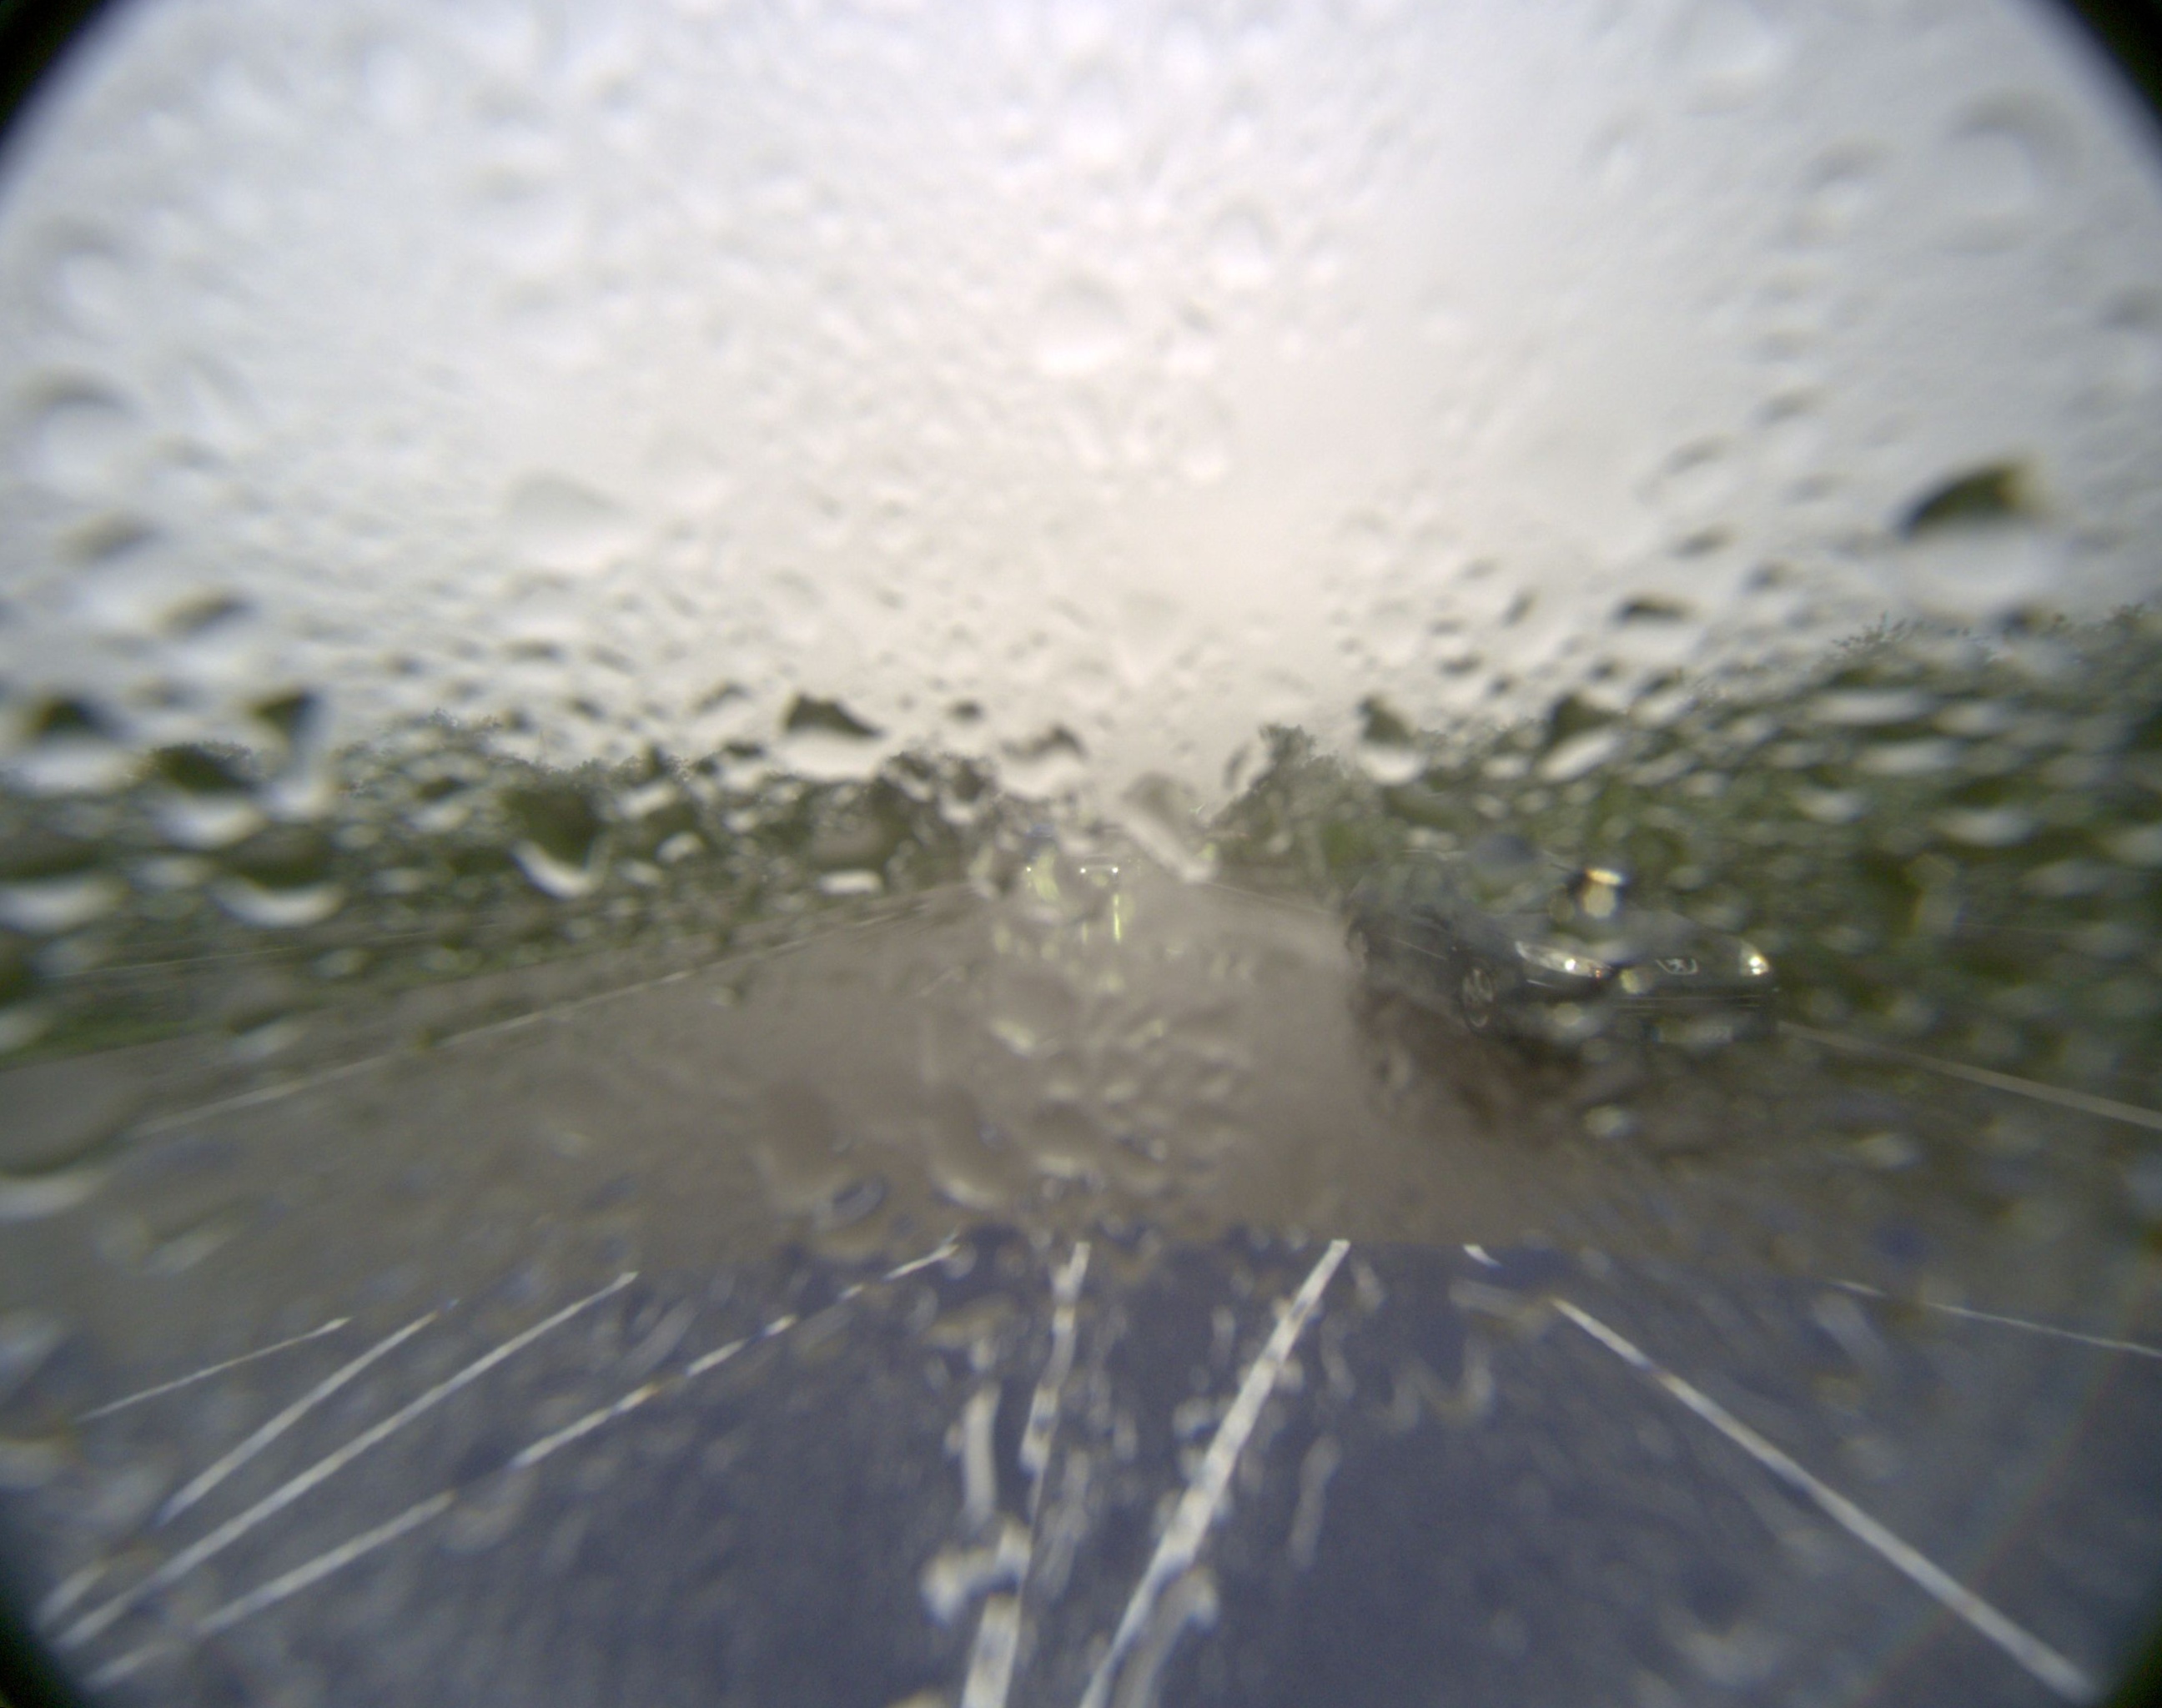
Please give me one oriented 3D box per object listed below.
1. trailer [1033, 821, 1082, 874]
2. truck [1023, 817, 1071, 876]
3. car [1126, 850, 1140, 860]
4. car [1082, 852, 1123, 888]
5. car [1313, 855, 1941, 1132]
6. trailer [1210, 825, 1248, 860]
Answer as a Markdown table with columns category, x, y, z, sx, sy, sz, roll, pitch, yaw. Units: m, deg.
| category | x | y | z | sx | sy | sz | roll | pitch | yaw |
| --- | --- | --- | --- | --- | --- | --- | --- | --- | --- |
| trailer | -1.813 | -0.549 | 65.036 | 2.750 | 3.941 | 14.132 | -2 | 0 | 4 |
| truck | -2.396 | -0.547 | 56.153 | 2.755 | 4.055 | 6.484 | -1 | 1 | 4 |
| car | 7.749 | 0.125 | 114.280 | 1.900 | 1.533 | 4.090 | -2 | 0 | 2 |
| car | 1.009 | 0.701 | 35.772 | 1.752 | 1.545 | 4.090 | -2 | 0 | 1 |
| car | 3.881 | 0.800 | 6.890 | 2.059 | 1.477 | 5.158 | -2 | 0 | 1 |
| trailer | 21.899 | -1.704 | 113.091 | 3.877 | 4.668 | 15.030 | -2 | 0 | 5 |
